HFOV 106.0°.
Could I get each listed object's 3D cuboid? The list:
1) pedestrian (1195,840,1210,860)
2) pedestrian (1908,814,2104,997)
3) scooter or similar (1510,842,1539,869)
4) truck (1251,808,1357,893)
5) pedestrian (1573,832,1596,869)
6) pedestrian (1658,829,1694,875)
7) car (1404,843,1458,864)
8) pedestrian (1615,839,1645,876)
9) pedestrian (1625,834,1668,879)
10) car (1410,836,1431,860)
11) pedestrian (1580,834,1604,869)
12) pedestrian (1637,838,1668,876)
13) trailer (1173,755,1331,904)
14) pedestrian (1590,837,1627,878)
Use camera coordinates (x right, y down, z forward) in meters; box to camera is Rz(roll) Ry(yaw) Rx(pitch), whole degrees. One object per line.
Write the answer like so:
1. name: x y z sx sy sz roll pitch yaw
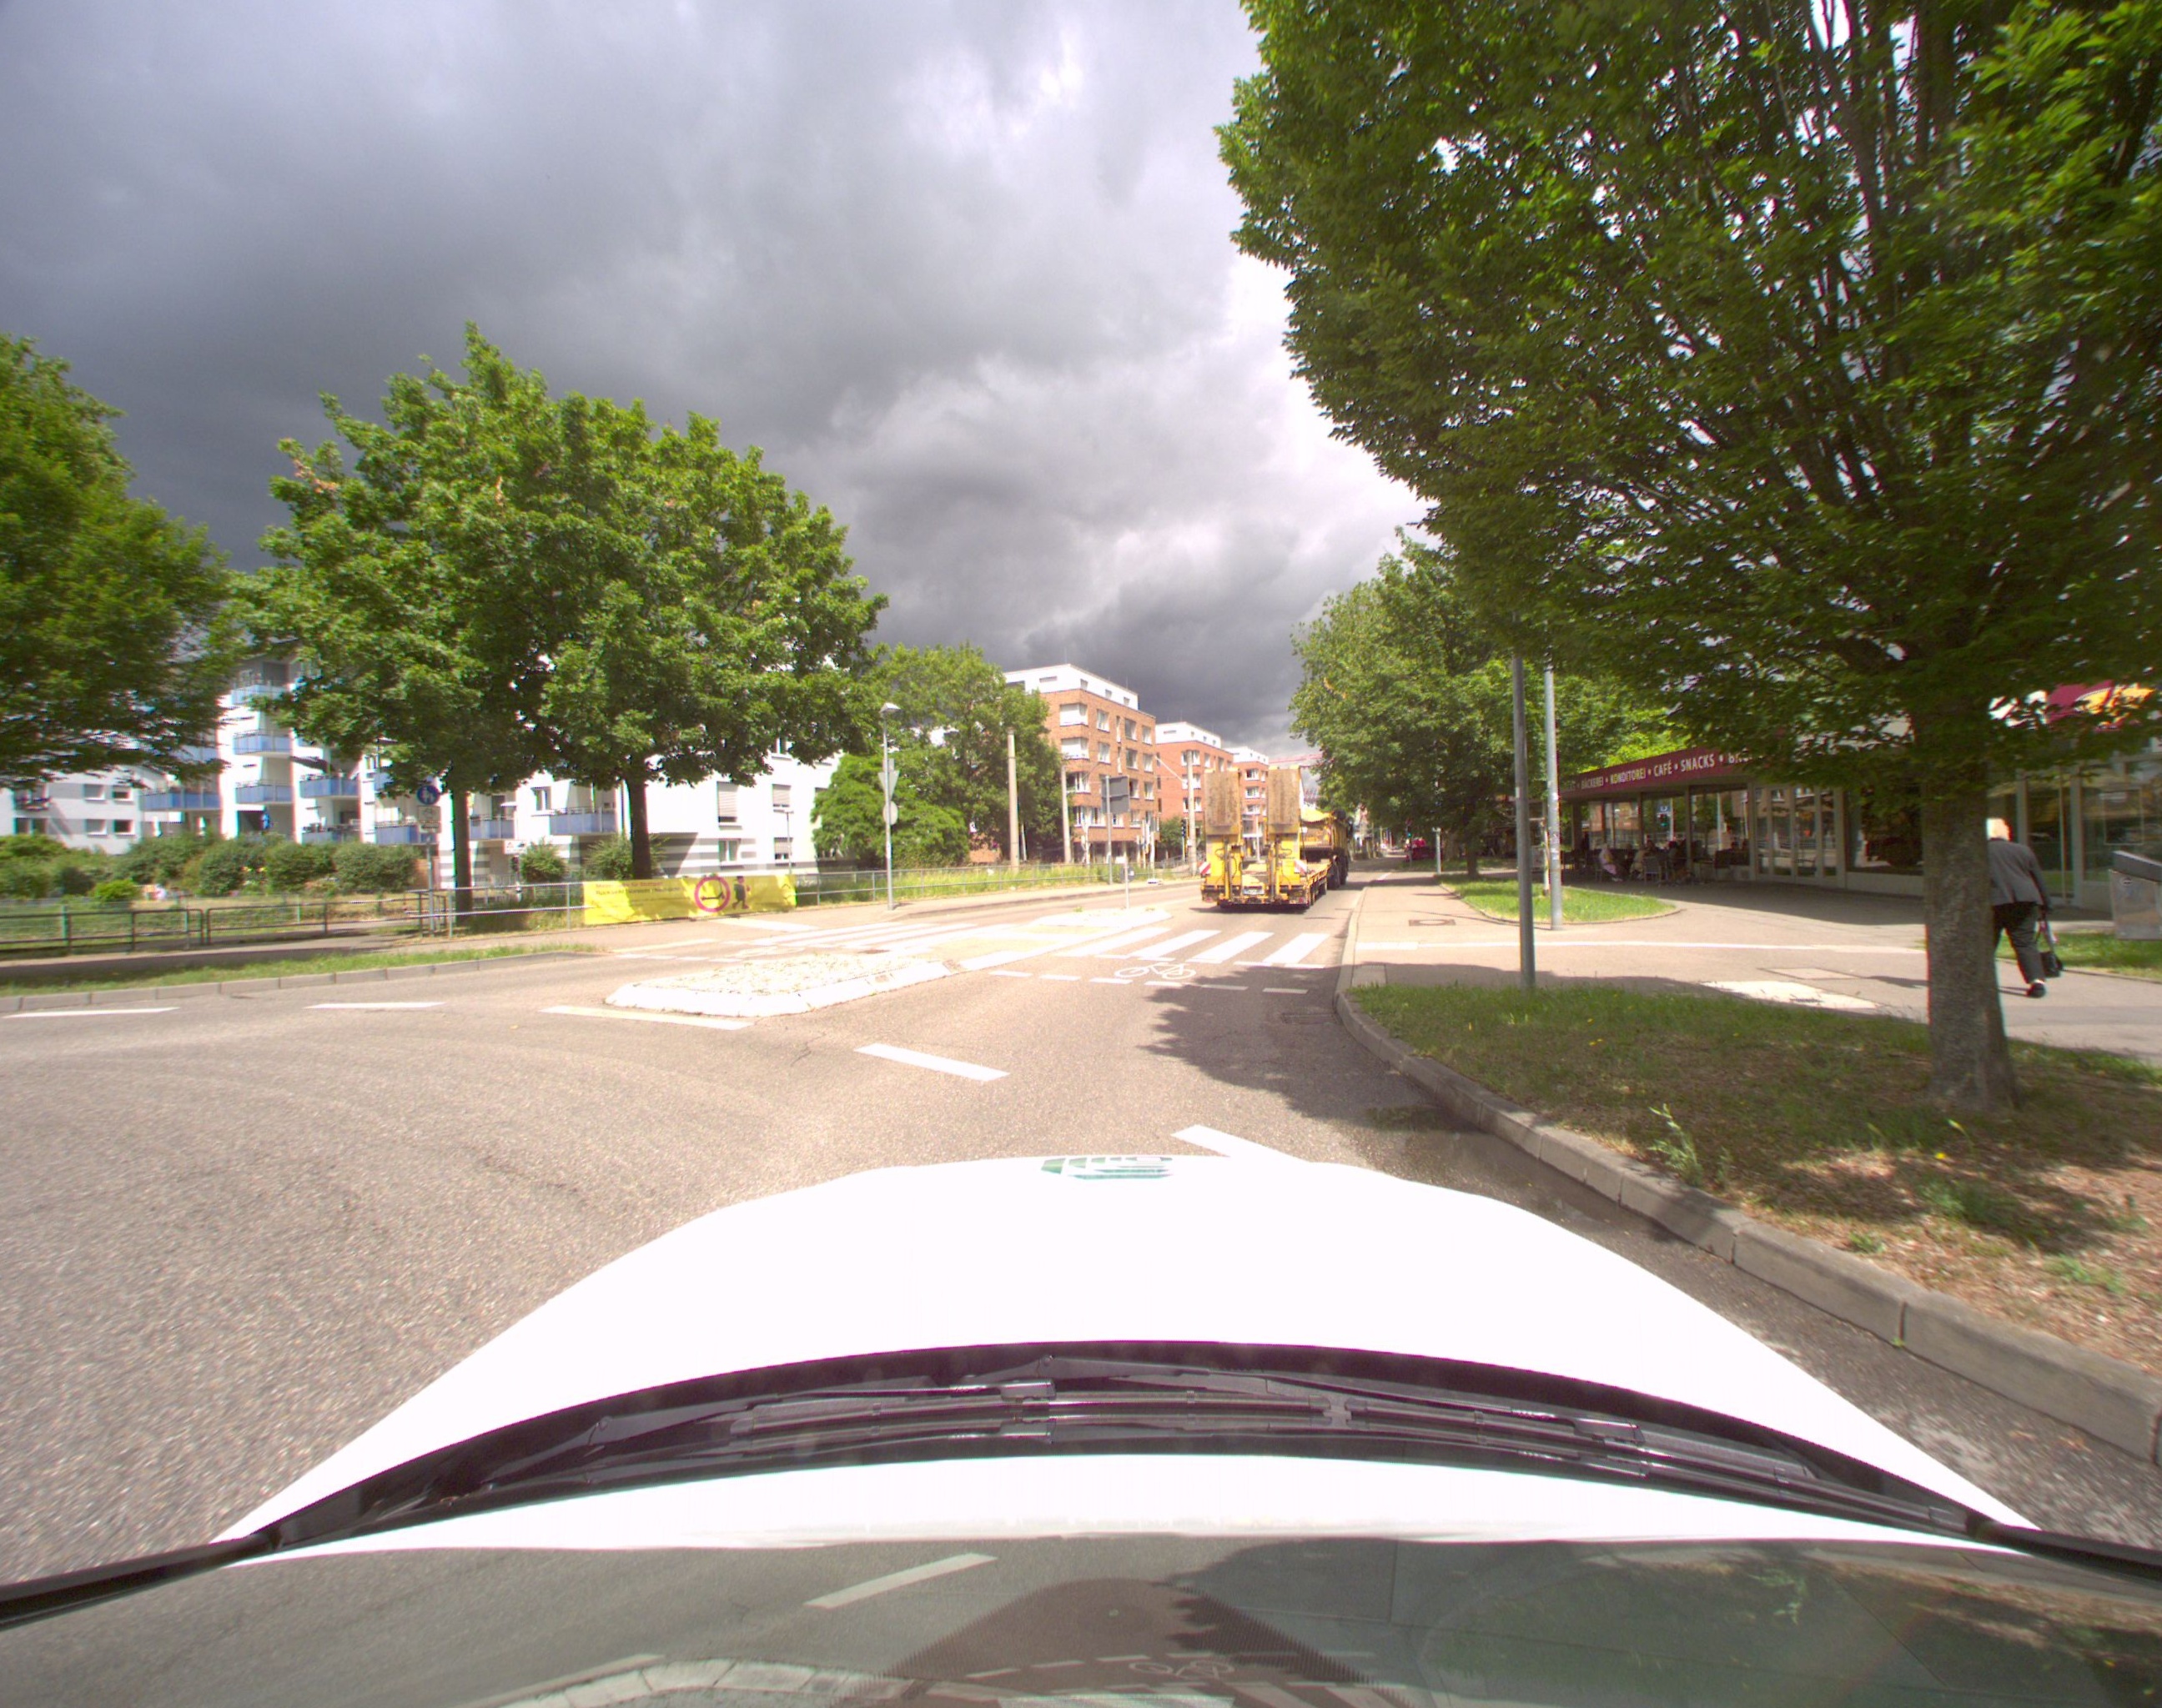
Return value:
1. pedestrian: 12.319 -0.419 82.373 1.126 2.014 1.004 -3 -1 30
2. pedestrian: 8.199 0.431 7.275 0.864 1.519 0.808 -2 1 21
3. scooter or similar: 21.576 0.084 39.622 1.740 1.226 0.514 -3 1 -37
4. truck: 9.425 -0.280 33.603 2.961 3.034 8.534 -1 2 23
5. pedestrian: 22.254 -0.162 36.004 0.691 1.573 0.560 -3 -1 17
6. pedestrian: 18.751 -0.061 25.677 0.711 1.380 0.702 -3 -1 21
7. car: 28.707 -0.032 66.741 3.950 1.511 2.012 -1 3 26
8. pedestrian: 18.444 0.118 27.375 0.711 1.201 0.703 -3 -1 27
9. pedestrian: 17.917 0.075 25.824 0.871 1.324 0.826 -3 2 13
10. car: 42.444 -0.785 101.802 1.975 2.827 5.146 2 2 27
11. pedestrian: 22.221 -0.121 35.421 0.691 1.488 0.560 -3 -1 17
12. pedestrian: 18.938 0.103 27.014 0.711 1.201 0.703 -3 -1 27
13. trailer: 5.568 -0.579 24.390 2.839 3.372 10.896 -3 -1 20
14. pedestrian: 17.410 0.120 26.913 0.870 1.325 0.614 -3 -1 22
